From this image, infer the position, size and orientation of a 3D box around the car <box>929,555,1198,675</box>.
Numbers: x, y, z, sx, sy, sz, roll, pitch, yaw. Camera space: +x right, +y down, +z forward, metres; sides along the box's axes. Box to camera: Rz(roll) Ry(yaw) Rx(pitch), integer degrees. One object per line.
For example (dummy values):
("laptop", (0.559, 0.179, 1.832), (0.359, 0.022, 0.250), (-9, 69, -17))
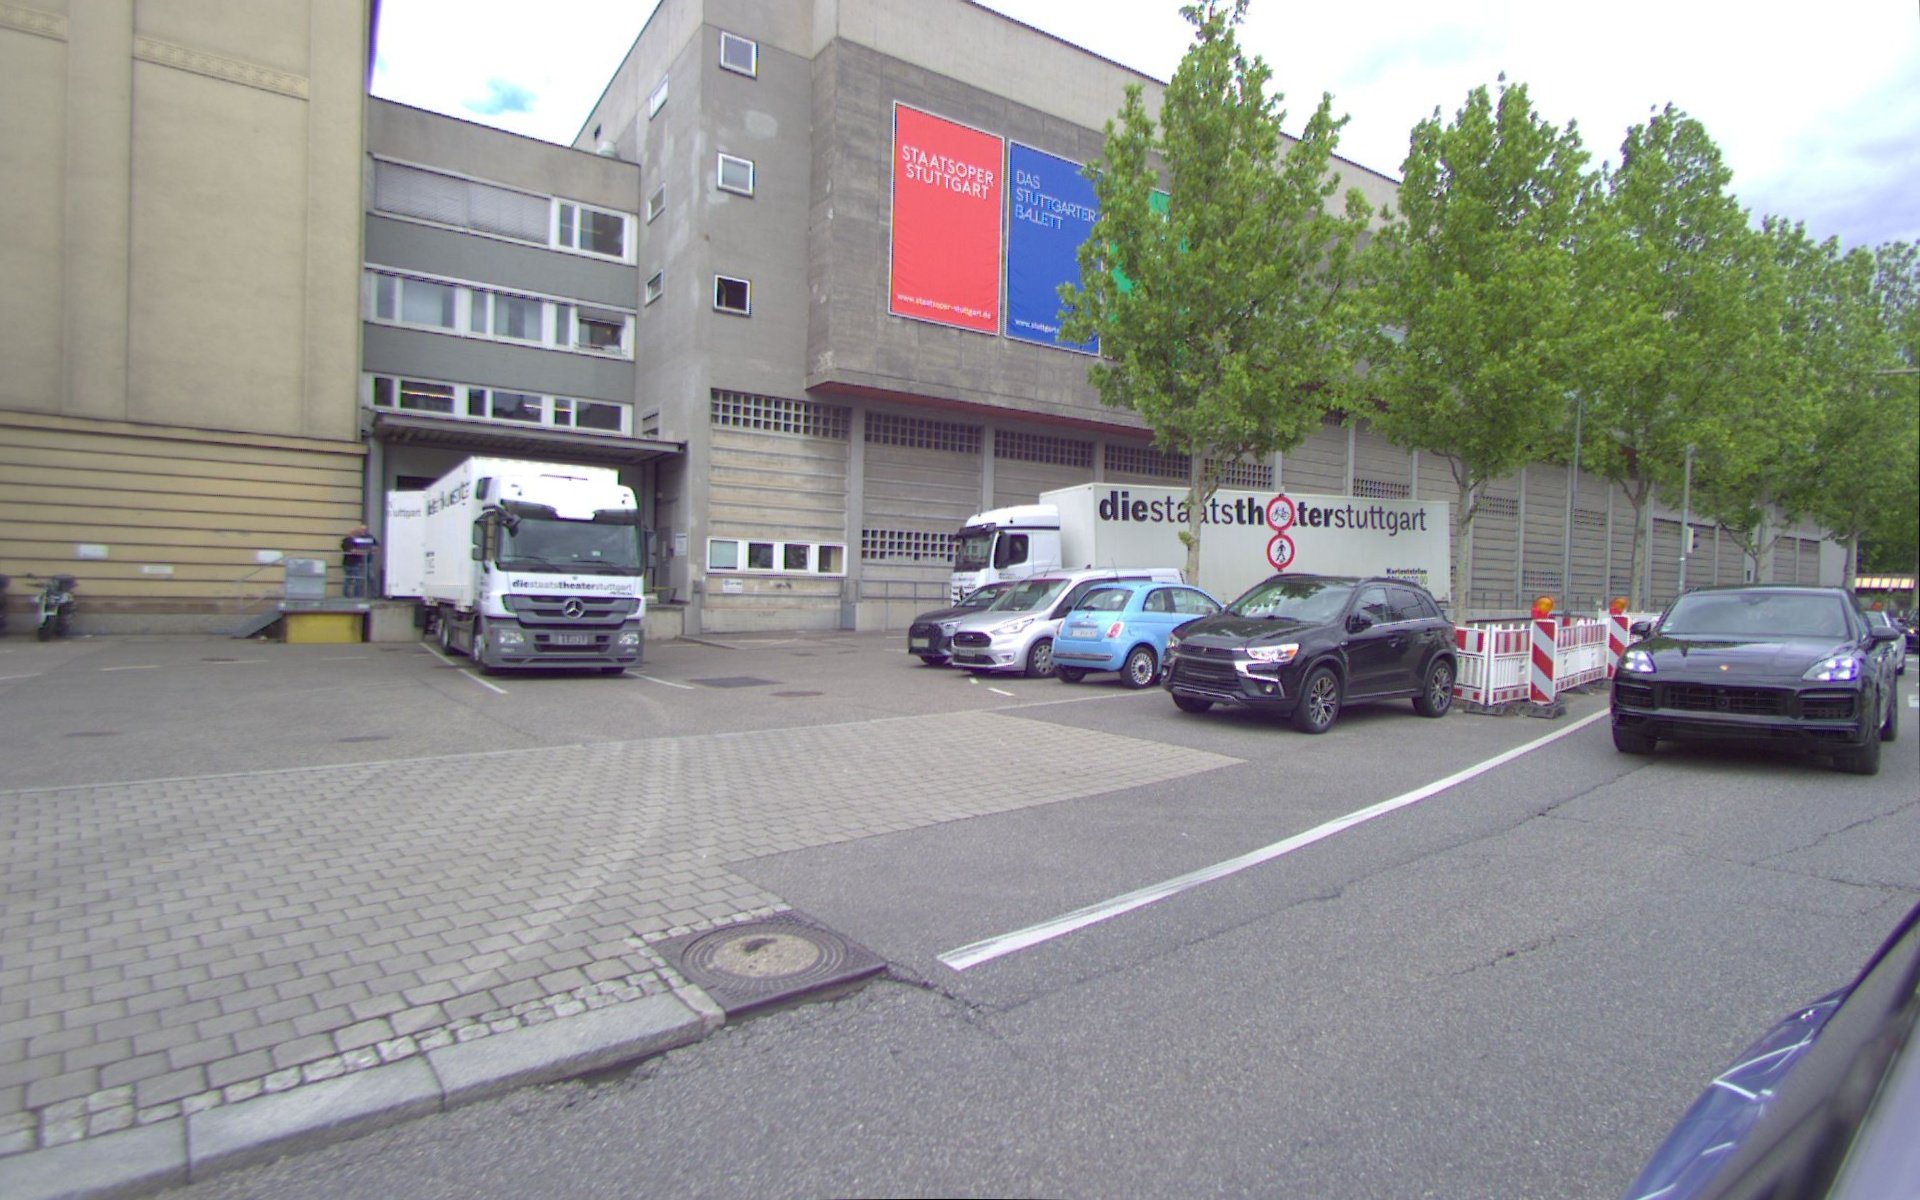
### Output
("car", (1.848, 0.241, 17.299), (4.535, 1.806, 1.810), (0, -1, -36))

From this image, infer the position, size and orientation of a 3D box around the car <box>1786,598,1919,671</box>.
("car", (19.288, 0.666, 21.495), (3.927, 1.393, 1.934), (0, 0, -39))

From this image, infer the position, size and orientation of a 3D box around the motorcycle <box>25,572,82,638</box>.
("motorcycle", (-19.090, 0.079, 21.340), (0.548, 1.304, 2.091), (1, 1, -32))

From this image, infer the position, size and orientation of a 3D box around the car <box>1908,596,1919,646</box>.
("car", (30.444, 0.628, 30.909), (3.555, 1.492, 1.613), (0, 1, -37))

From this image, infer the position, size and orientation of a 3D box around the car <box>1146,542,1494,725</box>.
("car", (4.320, 0.347, 11.803), (4.404, 1.760, 1.808), (1, -1, -39))

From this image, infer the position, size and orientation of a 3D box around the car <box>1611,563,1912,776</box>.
("car", (8.148, 0.542, 10.140), (4.132, 1.678, 1.904), (0, 0, -45))

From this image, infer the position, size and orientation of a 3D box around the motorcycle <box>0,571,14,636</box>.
("motorcycle", (-20.019, 0.068, 20.722), (0.548, 1.337, 2.091), (1, 1, -32))

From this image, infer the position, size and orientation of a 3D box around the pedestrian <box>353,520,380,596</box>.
("pedestrian", (-14.742, -1.019, 25.159), (0.517, 1.845, 0.764), (0, -1, -25))

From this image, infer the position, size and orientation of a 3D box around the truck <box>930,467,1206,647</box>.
("truck", (2.790, -1.007, 26.097), (6.439, 4.136, 3.147), (0, 0, -27))

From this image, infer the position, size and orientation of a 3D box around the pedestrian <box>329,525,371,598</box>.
("pedestrian", (-14.673, -0.925, 24.368), (0.679, 1.716, 0.628), (-1, -1, -7))

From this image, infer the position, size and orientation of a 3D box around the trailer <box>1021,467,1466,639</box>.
("trailer", (8.468, -1.161, 28.881), (13.687, 4.153, 3.162), (0, -1, -27))

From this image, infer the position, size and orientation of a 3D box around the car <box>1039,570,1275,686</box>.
("car", (2.992, 0.366, 15.139), (3.438, 1.549, 1.584), (0, 0, -36))

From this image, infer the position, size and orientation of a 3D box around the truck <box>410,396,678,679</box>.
("truck", (-8.847, -1.117, 20.396), (2.941, 4.257, 10.392), (1, 2, -34))

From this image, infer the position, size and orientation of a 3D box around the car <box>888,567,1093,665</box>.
("car", (0.627, 0.280, 19.444), (3.691, 1.710, 1.720), (0, 0, -36))
